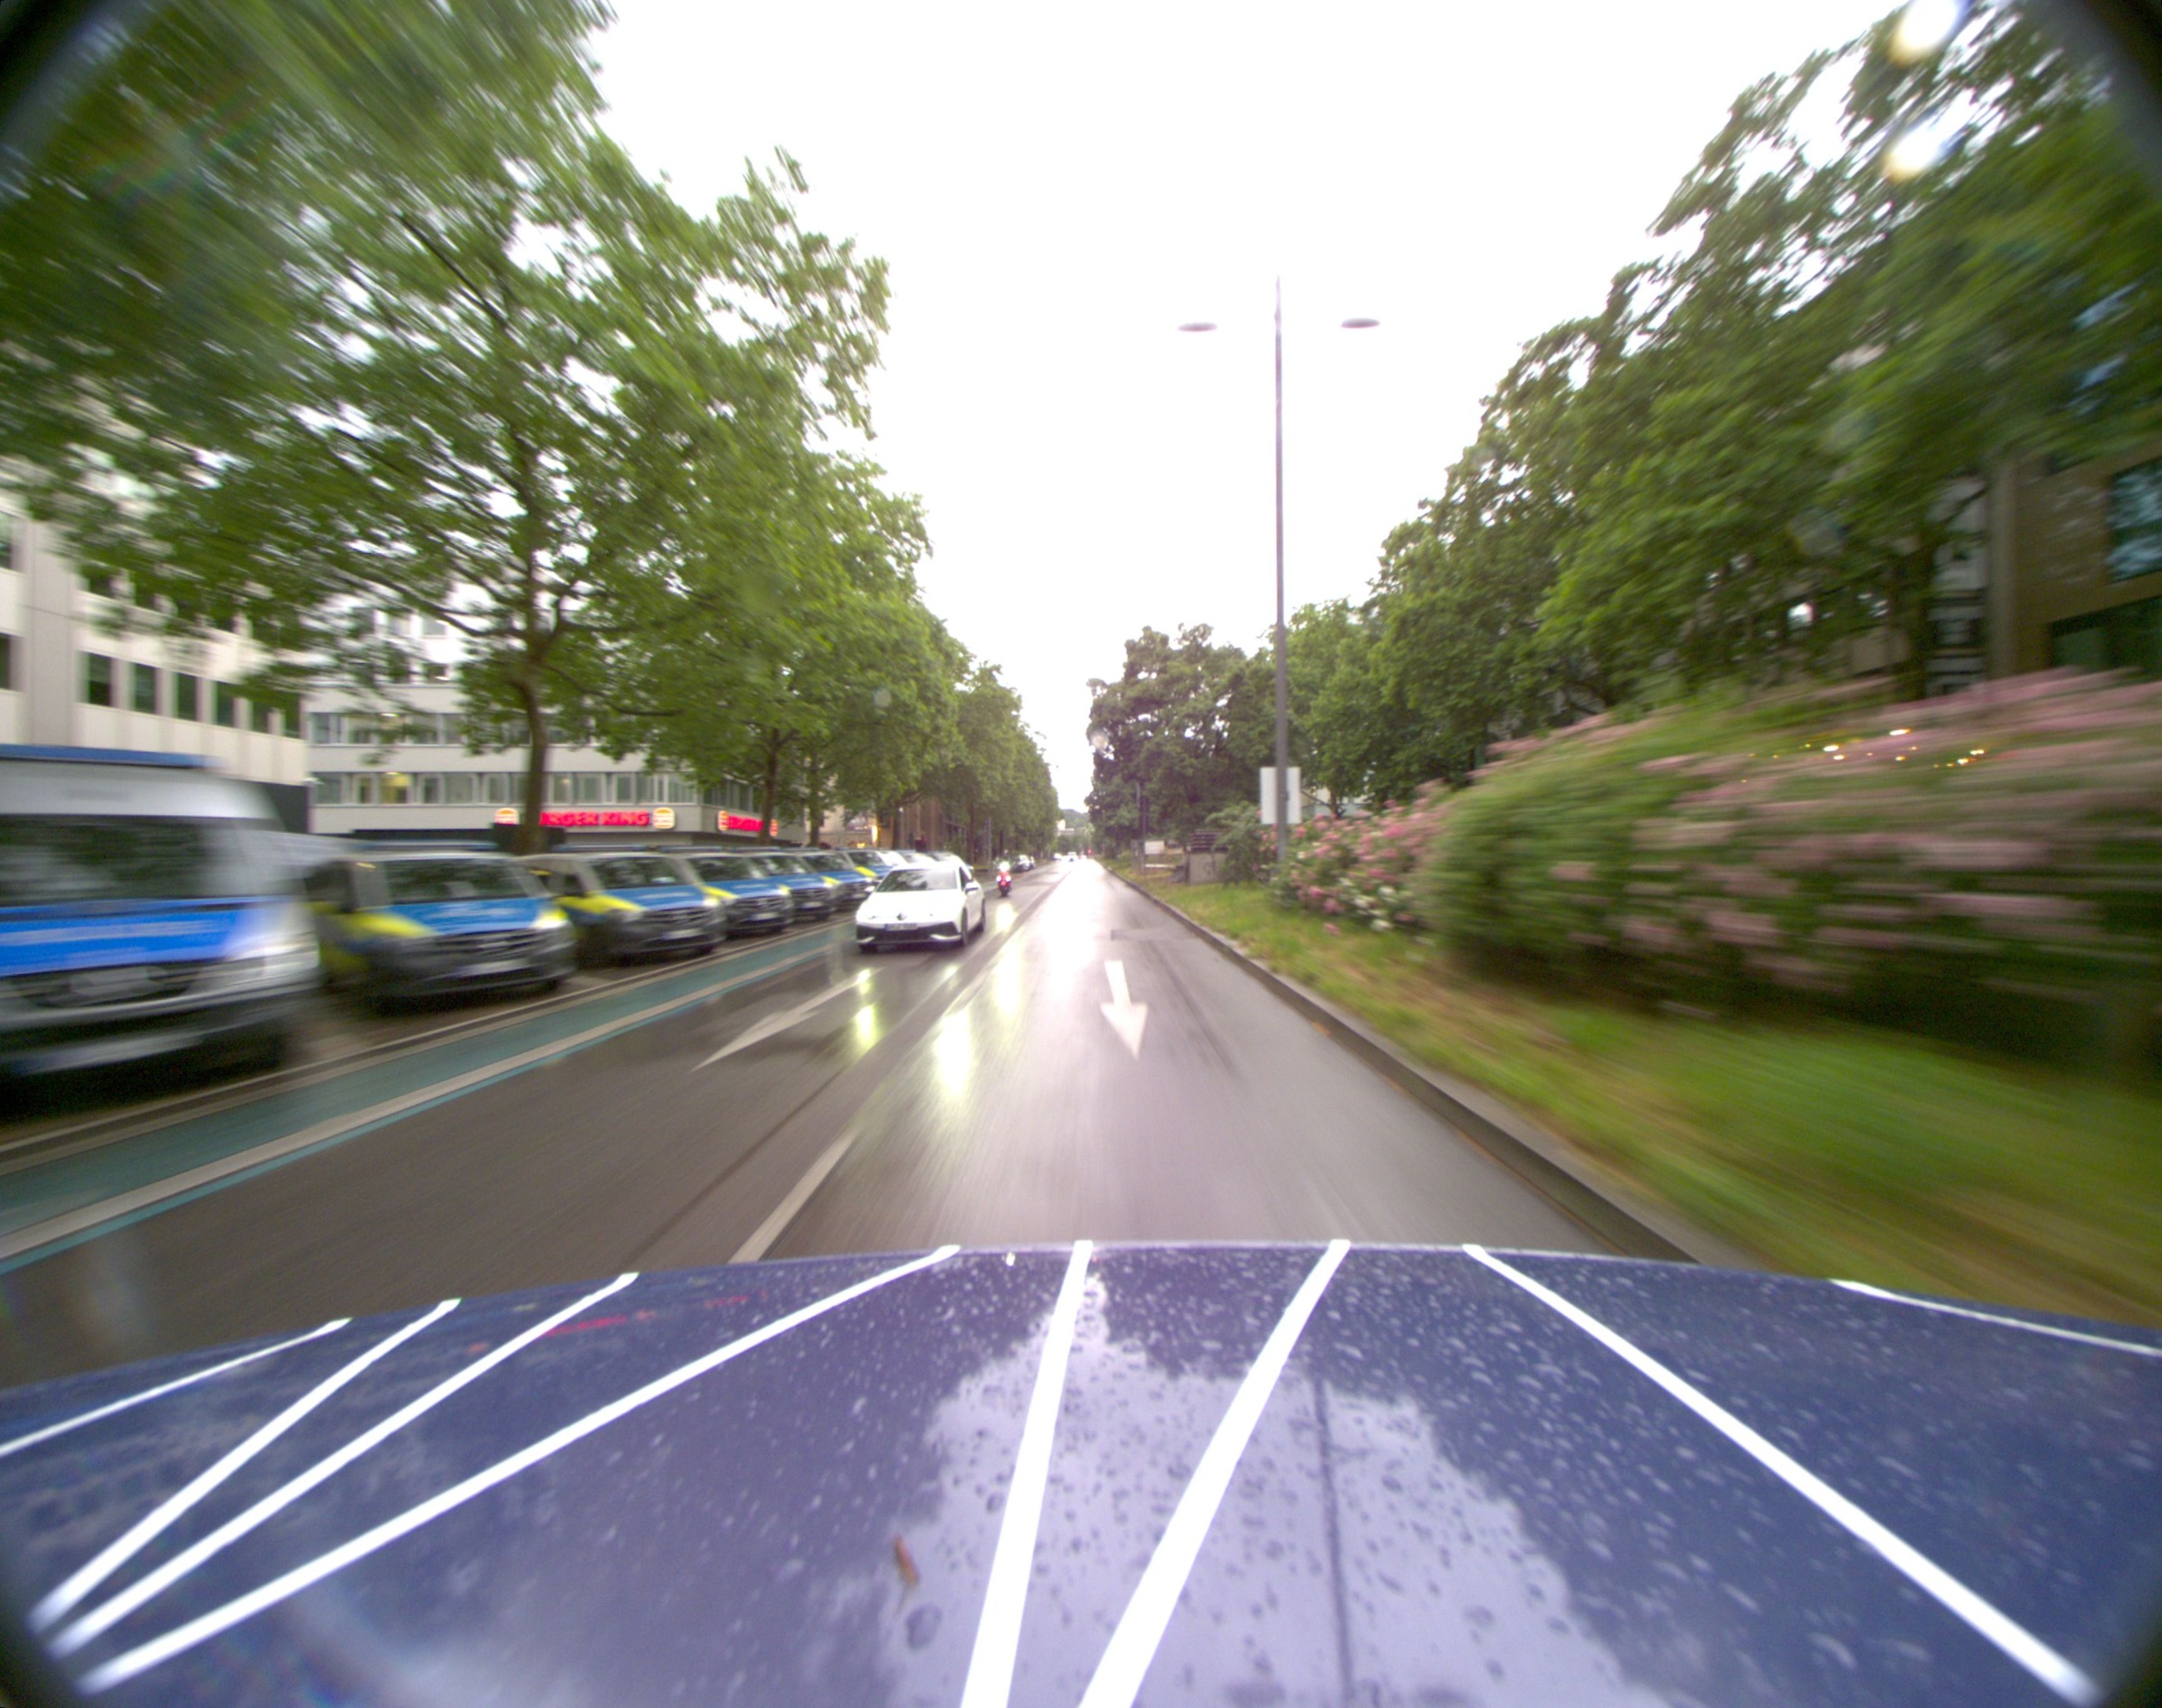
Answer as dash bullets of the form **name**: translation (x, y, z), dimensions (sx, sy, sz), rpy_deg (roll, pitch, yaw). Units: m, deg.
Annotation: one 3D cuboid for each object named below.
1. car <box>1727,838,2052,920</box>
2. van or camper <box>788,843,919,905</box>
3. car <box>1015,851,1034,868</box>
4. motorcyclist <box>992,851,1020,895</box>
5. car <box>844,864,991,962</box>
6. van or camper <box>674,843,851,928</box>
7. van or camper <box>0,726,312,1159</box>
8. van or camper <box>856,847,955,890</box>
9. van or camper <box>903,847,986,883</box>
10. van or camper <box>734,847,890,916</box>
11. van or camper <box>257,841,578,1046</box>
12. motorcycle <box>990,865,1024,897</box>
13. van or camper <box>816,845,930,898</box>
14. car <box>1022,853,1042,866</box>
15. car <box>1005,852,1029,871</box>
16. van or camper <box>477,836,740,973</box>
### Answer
- **car**: translation (16.497, 0.449, 15.960), dimensions (1.998, 1.362, 4.539), rpy_deg (-3, 0, 1)
- **van or camper**: translation (-8.258, 0.686, 27.408), dimensions (4.781, 1.999, 2.004), rpy_deg (-1, 1, 37)
- **car**: translation (-5.554, 0.571, 75.206), dimensions (1.756, 1.576, 4.408), rpy_deg (-2, 0, -4)
- **motorcyclist**: translation (-2.872, 0.723, 28.964), dimensions (0.850, 1.635, 0.870), rpy_deg (-2, 1, -17)
- **car**: translation (-2.850, 0.956, 14.254), dimensions (1.866, 1.436, 4.508), rpy_deg (-1, 0, -2)
- **van or camper**: translation (-8.615, 0.770, 20.345), dimensions (5.093, 2.013, 2.110), rpy_deg (-1, 1, 38)
- **van or camper**: translation (-8.792, 0.565, 6.645), dimensions (5.795, 2.665, 2.004), rpy_deg (-1, 1, 36)
- **van or camper**: translation (-8.860, 0.739, 38.188), dimensions (5.074, 2.007, 2.001), rpy_deg (-2, 1, 37)
- **van or camper**: translation (-8.063, 0.653, 44.666), dimensions (4.933, 1.980, 2.006), rpy_deg (-2, 1, 39)
- **van or camper**: translation (-8.652, 0.804, 24.291), dimensions (5.010, 1.984, 2.004), rpy_deg (-1, 1, 33)
- **van or camper**: translation (-8.712, 0.891, 9.820), dimensions (5.002, 2.002, 2.004), rpy_deg (0, 2, 36)
- **motorcycle**: translation (-2.849, 0.991, 28.905), dimensions (0.869, 1.136, 2.019), rpy_deg (-2, 0, -17)
- **van or camper**: translation (-8.567, 0.696, 31.063), dimensions (4.841, 1.986, 1.871), rpy_deg (-1, 1, 37)
- **car**: translation (-5.518, 0.598, 85.831), dimensions (1.747, 1.424, 4.585), rpy_deg (-2, 1, 1)
- **car**: translation (-5.889, 0.695, 69.991), dimensions (1.797, 1.593, 4.423), rpy_deg (-2, 0, -1)
- **van or camper**: translation (-8.488, 0.781, 13.458), dimensions (5.195, 1.981, 2.004), rpy_deg (-2, 1, 35)
